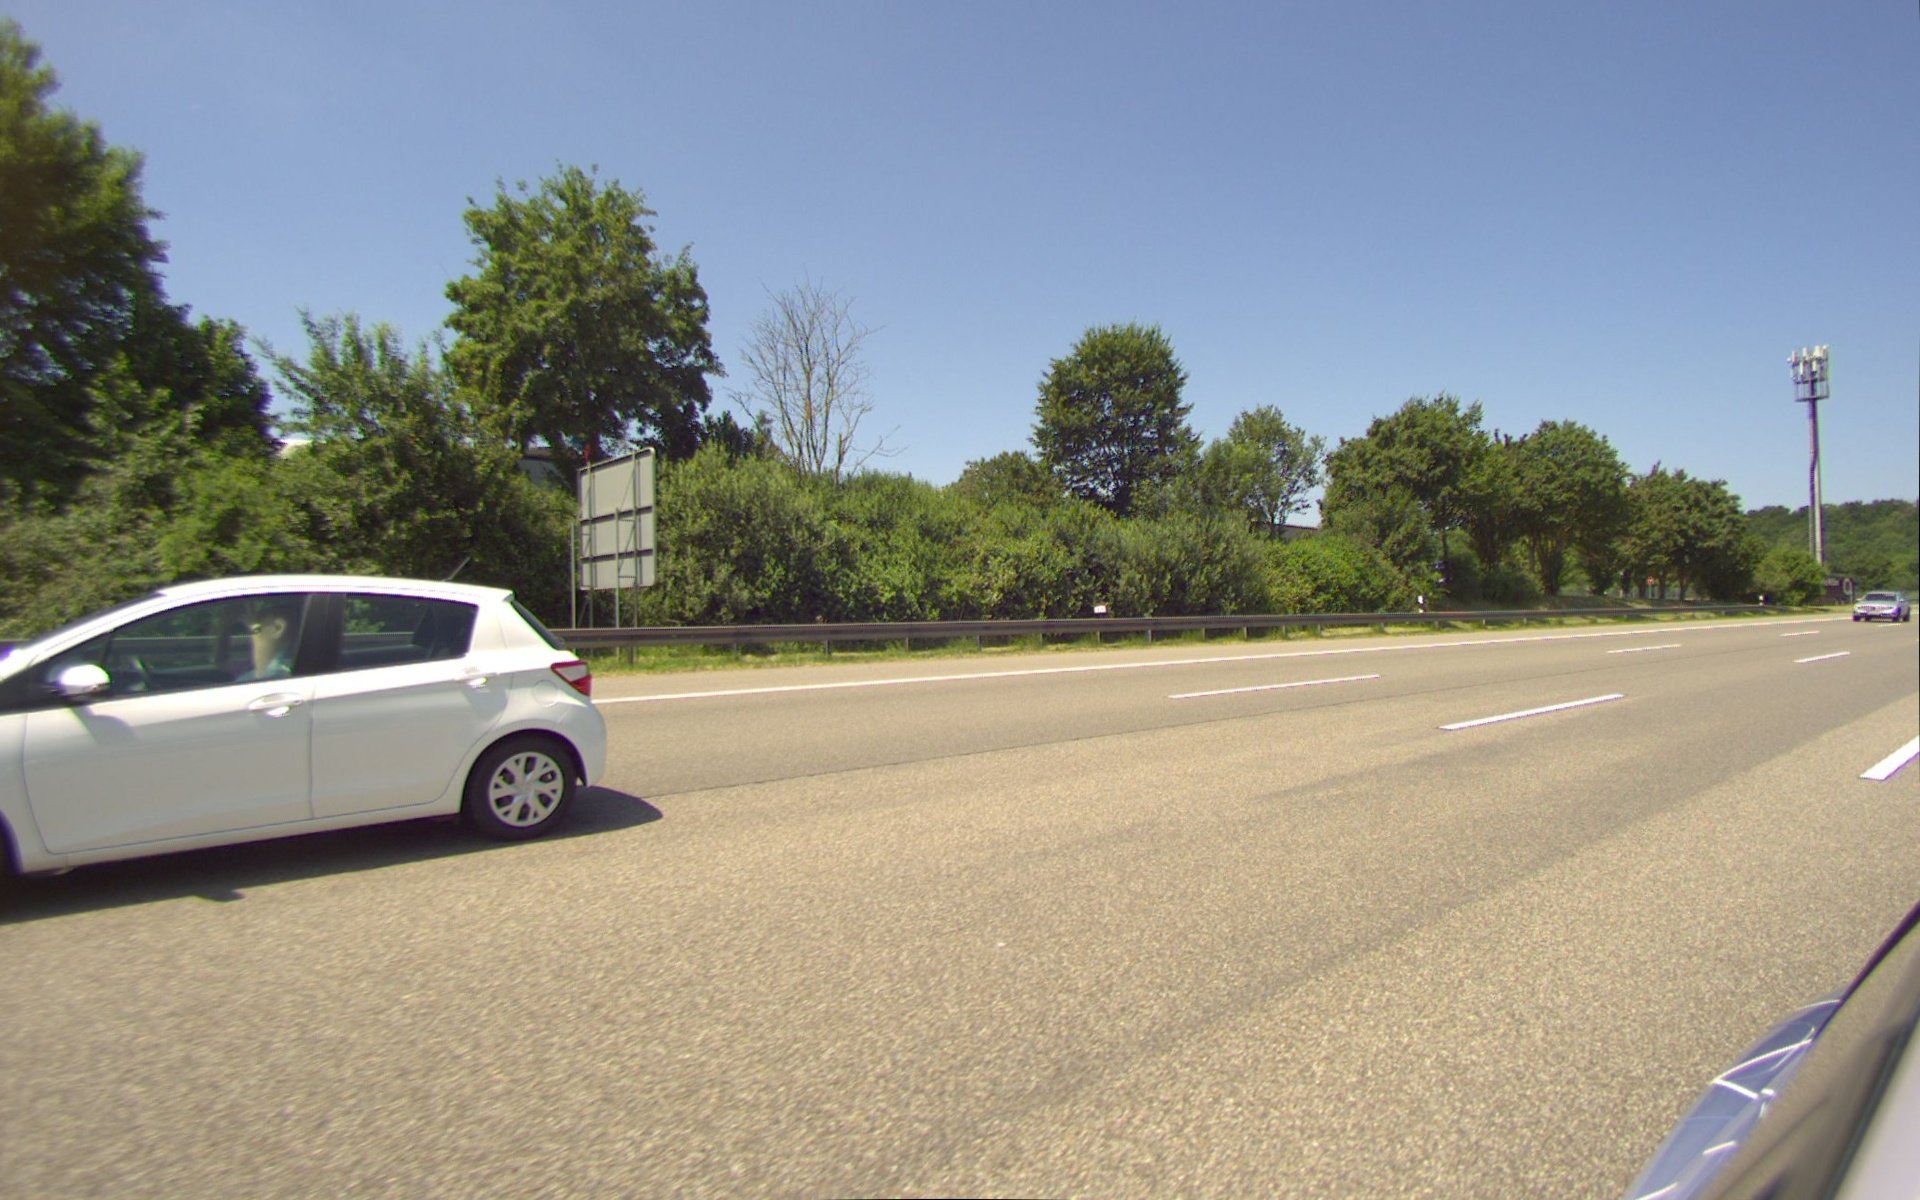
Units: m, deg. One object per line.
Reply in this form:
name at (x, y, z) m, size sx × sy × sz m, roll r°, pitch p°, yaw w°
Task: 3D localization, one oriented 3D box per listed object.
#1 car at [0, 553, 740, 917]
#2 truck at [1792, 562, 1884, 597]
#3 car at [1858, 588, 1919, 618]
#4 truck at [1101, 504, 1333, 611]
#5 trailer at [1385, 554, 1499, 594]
car at (-3.651, 0.543, 5.792) m, size 4.406 × 1.538 × 1.753 m, roll -1°, pitch 1°, yaw -41°
truck at (94.771, -2.217, 109.161) m, size 12.070 × 3.616 × 2.758 m, roll -1°, pitch 0°, yaw -25°
car at (50.098, 0.145, 54.453) m, size 3.927 × 1.549 × 1.999 m, roll -1°, pitch 1°, yaw -38°
truck at (14.998, -2.171, 57.529) m, size 16.082 × 5.388 × 3.529 m, roll 0°, pitch 0°, yaw -37°
trailer at (47.857, -2.589, 100.666) m, size 9.936 × 3.764 × 2.241 m, roll -1°, pitch 0°, yaw 5°
